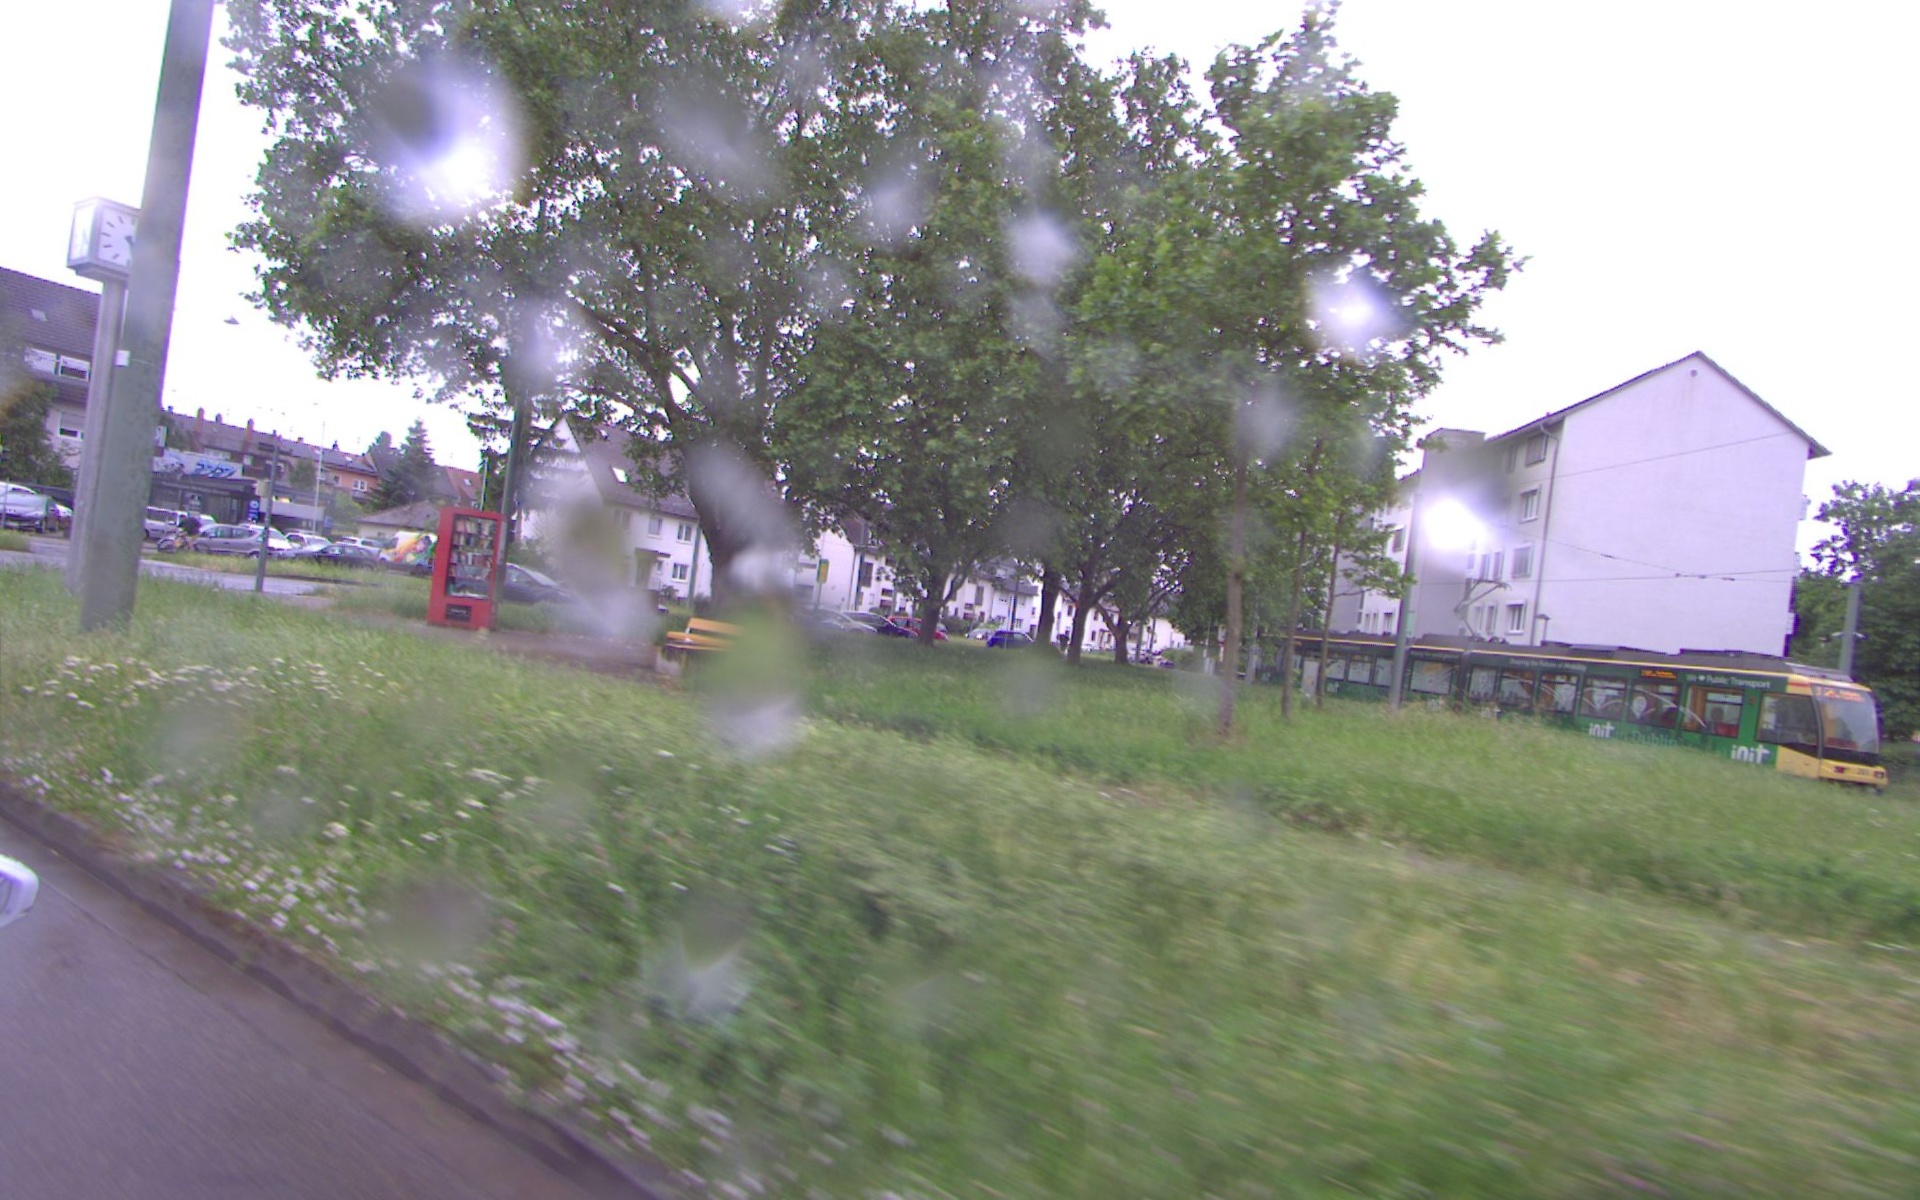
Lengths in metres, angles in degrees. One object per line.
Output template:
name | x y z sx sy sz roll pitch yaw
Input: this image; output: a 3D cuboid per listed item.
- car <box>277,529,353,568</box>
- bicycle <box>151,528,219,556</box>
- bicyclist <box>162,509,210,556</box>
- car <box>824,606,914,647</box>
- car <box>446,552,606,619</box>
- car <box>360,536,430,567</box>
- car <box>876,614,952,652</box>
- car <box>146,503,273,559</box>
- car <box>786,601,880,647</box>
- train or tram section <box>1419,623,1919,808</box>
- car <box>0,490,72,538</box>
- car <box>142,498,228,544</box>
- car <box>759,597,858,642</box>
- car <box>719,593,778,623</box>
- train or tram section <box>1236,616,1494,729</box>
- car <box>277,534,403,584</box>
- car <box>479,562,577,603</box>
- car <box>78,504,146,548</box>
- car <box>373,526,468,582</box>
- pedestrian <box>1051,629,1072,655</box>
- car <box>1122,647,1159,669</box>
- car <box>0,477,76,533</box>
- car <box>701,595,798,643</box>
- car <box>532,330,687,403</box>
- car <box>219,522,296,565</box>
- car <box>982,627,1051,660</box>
car | -32.284 -2.587 50.351 3.780 1.411 1.721 7 -3 34
bicycle | -29.648 -2.207 38.516 0.926 0.796 1.817 7 0 29
bicyclist | -29.608 -2.566 38.478 0.933 1.618 1.041 7 0 29
car | -4.312 1.251 48.035 4.046 1.498 1.866 6 -1 -1
car | -13.489 -0.414 31.431 4.100 1.494 1.804 8 0 0
car | -39.827 -3.428 71.039 1.759 1.599 4.451 6 -1 9
car | -2.307 1.676 50.778 3.530 1.498 1.639 6 -1 4
car | -30.354 -2.749 40.790 1.693 1.520 3.644 7 -3 29
car | -5.685 1.089 45.041 3.931 1.571 1.960 7 -2 -8
train or tram section | 20.183 2.899 30.789 2.671 3.630 14.711 9 -2 -11
car | -37.801 -3.468 40.804 1.816 1.521 4.027 10 -3 -31
car | -35.271 -3.609 45.792 3.808 1.598 1.804 7 0 32
car | -6.351 0.841 42.548 3.928 1.518 1.824 5 -2 -6
car | -14.374 0.558 68.632 1.579 1.439 3.942 7 -3 30
train or tram section | 17.338 2.867 45.257 2.671 3.630 14.710 9 -2 -11
car | -27.528 -1.783 44.827 1.693 1.353 4.391 7 -4 28
car | -21.521 -0.852 50.262 1.966 1.494 3.996 7 -1 29
car | -36.390 -3.186 43.146 1.824 1.521 4.008 11 -4 -44
car | -30.510 -2.588 56.877 5.062 2.432 2.151 7 -3 30
pedestrian | 7.333 3.066 72.624 1.029 1.734 1.079 6 -1 26
car | 15.947 5.168 88.906 1.928 1.570 3.997 5 -3 29
car | -41.658 -4.286 43.665 1.967 2.037 4.438 6 -1 32
car | -8.284 0.770 39.913 3.454 1.523 1.754 6 -2 -5
car | -11.750 -7.832 33.870 4.464 1.494 1.805 7 0 4
car | -33.758 -2.715 48.339 3.559 1.590 1.721 7 -3 34
car | 3.400 2.637 61.277 3.926 1.502 1.999 7 0 -1
